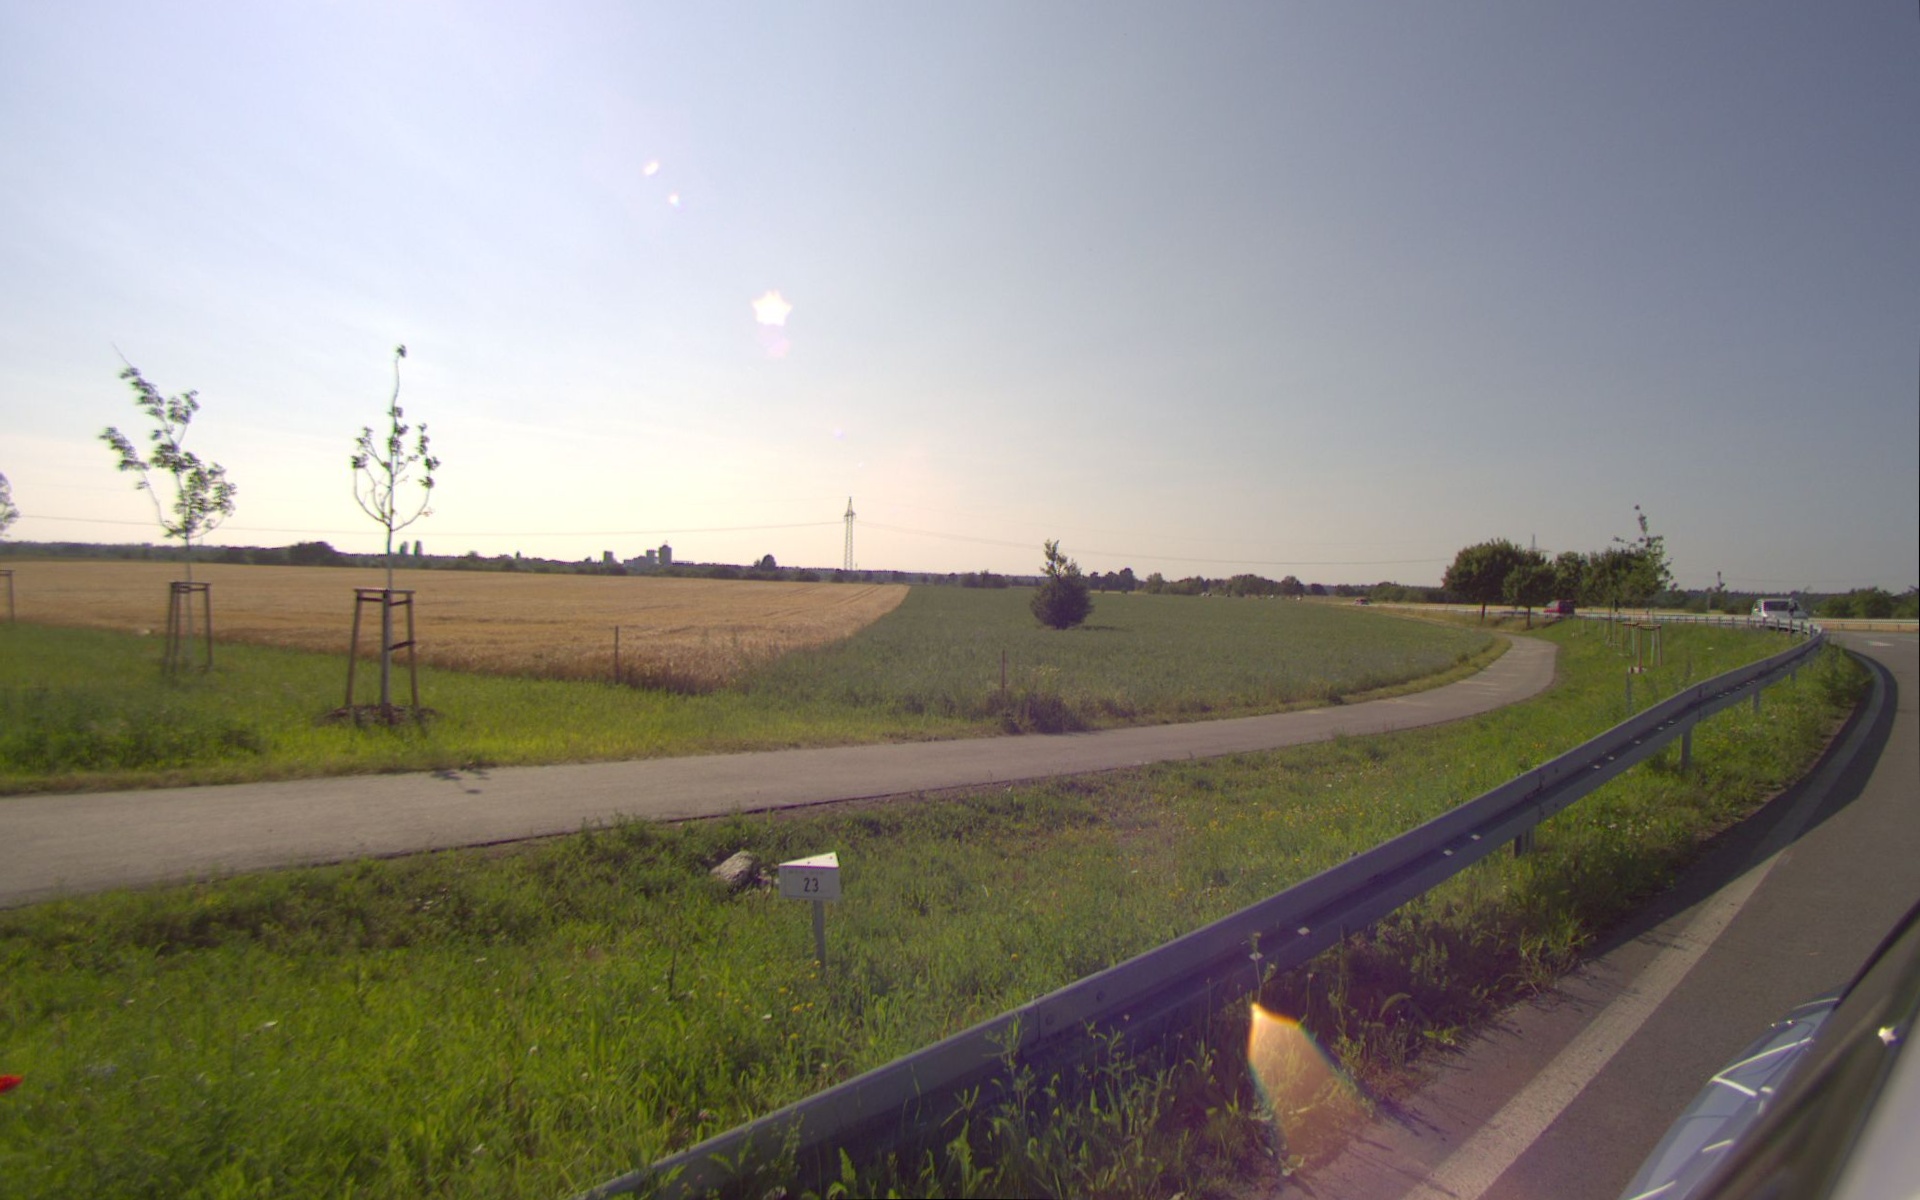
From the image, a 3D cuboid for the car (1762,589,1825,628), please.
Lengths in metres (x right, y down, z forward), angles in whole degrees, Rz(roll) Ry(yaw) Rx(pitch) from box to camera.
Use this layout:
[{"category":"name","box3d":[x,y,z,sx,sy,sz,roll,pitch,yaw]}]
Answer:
[{"category":"car","box3d":[38.817,0.353,47.203,1.743,1.716,4.166,-1,0,33]}]

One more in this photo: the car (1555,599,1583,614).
[{"category":"car","box3d":[70.644,0.695,117.471,1.789,1.694,3.980,0,0,16]}]
